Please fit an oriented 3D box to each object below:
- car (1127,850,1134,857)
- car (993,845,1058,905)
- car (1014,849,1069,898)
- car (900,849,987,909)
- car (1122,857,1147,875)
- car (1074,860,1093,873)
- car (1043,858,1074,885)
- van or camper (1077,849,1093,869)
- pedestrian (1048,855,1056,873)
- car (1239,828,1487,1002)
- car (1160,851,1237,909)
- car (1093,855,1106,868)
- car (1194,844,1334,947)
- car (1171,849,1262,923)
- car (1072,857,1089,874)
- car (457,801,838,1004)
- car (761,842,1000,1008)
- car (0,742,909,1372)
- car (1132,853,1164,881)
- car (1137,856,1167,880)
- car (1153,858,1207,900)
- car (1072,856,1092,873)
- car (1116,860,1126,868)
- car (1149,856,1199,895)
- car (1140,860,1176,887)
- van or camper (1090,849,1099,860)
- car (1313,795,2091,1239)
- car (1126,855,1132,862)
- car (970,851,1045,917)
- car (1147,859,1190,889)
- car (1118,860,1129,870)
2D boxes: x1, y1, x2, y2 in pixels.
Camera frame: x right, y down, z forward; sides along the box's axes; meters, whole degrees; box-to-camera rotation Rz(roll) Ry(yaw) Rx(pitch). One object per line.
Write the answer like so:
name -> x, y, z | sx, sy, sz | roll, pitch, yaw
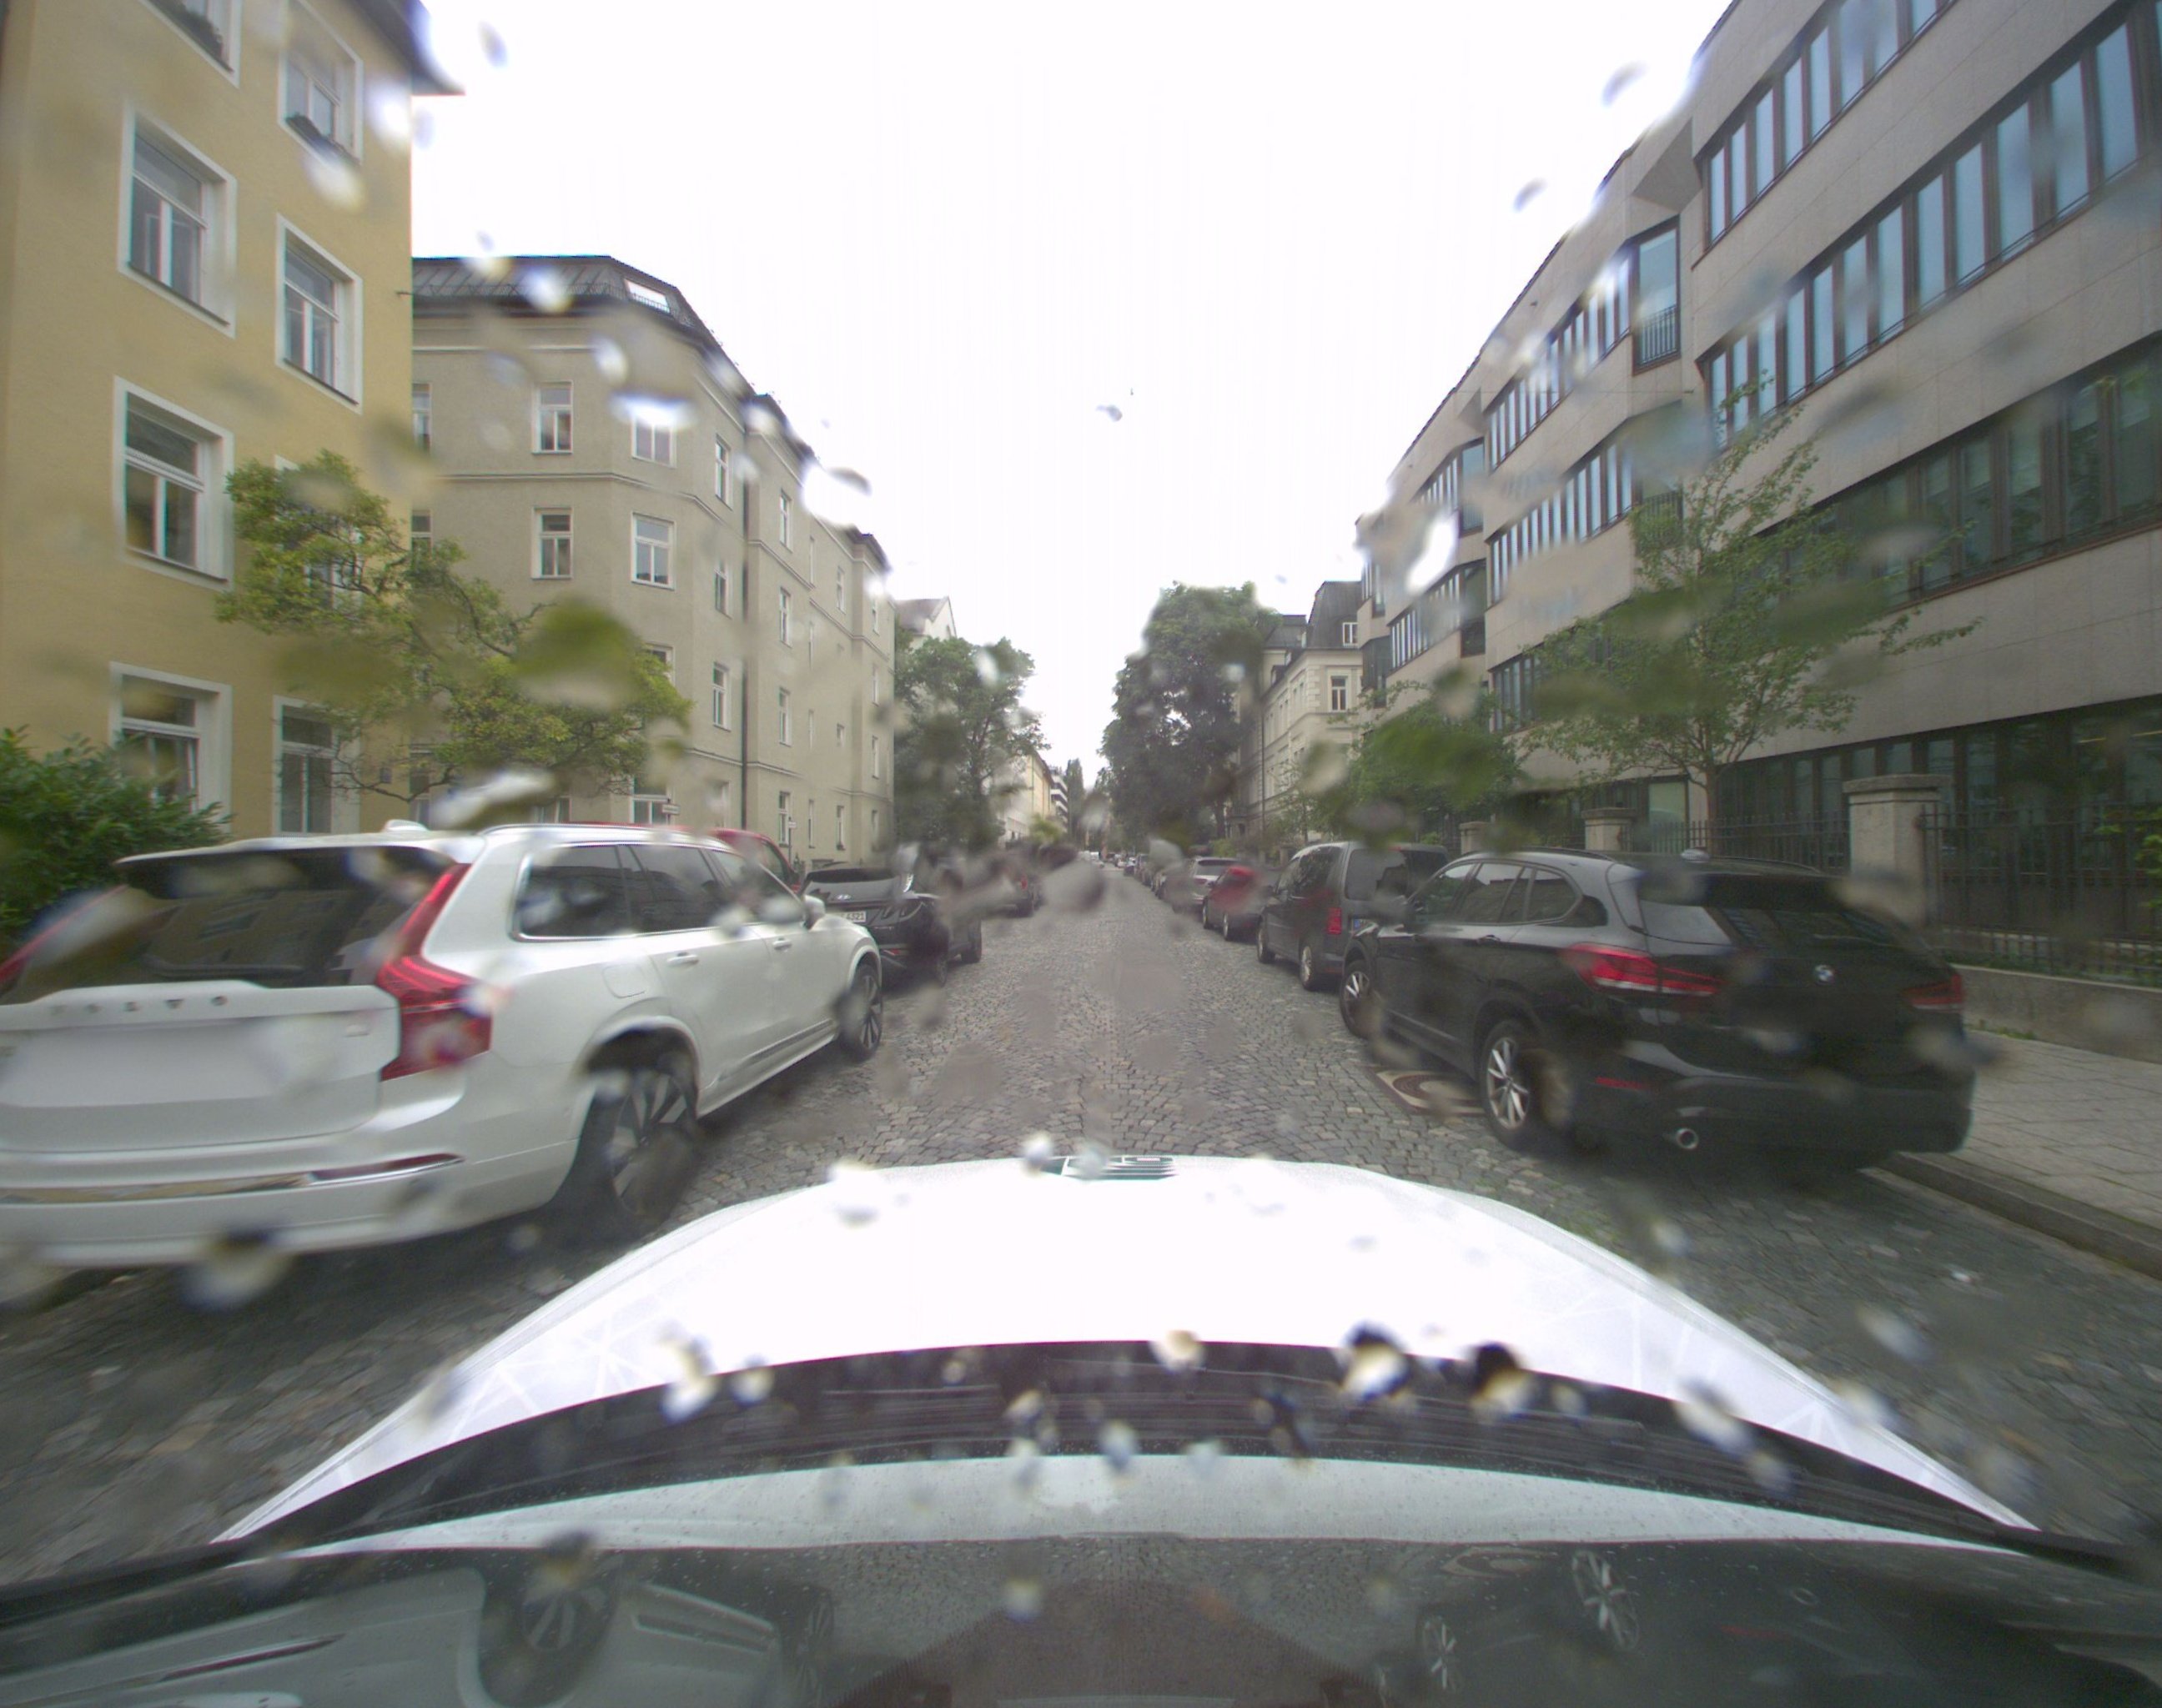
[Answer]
car -> 14.498, -0.084, 237.373 | 1.986, 2.014, 4.002 | 0, -1, 2
car -> -1.923, 0.727, 29.440 | 1.866, 1.917, 4.828 | -2, -1, 1
car -> -1.651, 0.821, 36.003 | 1.986, 1.917, 5.178 | -4, -1, 1
car -> -4.468, 0.774, 27.172 | 1.938, 1.735, 4.658 | 3, 0, 1
car -> 4.742, 1.052, 72.802 | 1.867, 1.503, 4.510 | 2, 0, 0
car -> 0.350, 1.510, 98.573 | 1.864, 1.580, 4.213 | 2, -1, 5
car -> -1.277, 0.989, 46.729 | 1.657, 1.444, 4.169 | -1, -1, -1
van or camper -> 0.596, 0.641, 113.532 | 1.986, 2.652, 4.002 | -3, -1, 2
pedestrian -> -3.078, 1.083, 87.098 | 0.789, 1.917, 0.759 | 1, -1, 1
car -> 3.516, 0.683, 11.141 | 1.782, 1.796, 4.509 | 4, 0, 0
car -> 3.927, 0.830, 27.986 | 1.867, 1.735, 4.746 | 3, 0, 0
car -> 2.926, 1.182, 127.083 | 1.986, 2.014, 4.002 | 0, -1, 2
car -> 3.640, 0.770, 17.049 | 1.866, 1.735, 4.659 | 4, 0, 1
car -> 3.521, 0.797, 22.046 | 1.865, 1.735, 4.895 | 2, -1, 3
car -> -0.039, 1.320, 93.069 | 1.867, 1.776, 4.123 | -4, -1, 1
car -> -5.021, 0.492, 10.612 | 1.987, 1.931, 5.331 | 1, 0, 1
car -> -2.503, 0.818, 11.550 | 1.910, 1.735, 4.758 | -4, -1, 2
car -> -2.745, 0.633, 4.988 | 1.998, 1.809, 5.177 | -2, -1, 3
car -> 4.959, 0.926, 60.692 | 1.867, 1.928, 5.162 | 2, 0, 0
car -> 4.748, 0.947, 55.148 | 1.829, 1.490, 4.424 | 2, 0, 3
car -> 3.948, 0.944, 33.121 | 1.865, 1.490, 4.621 | 2, 0, 4
car -> 0.111, 1.024, 80.530 | 1.867, 1.580, 4.254 | -3, 0, 0
car -> 7.614, 1.958, 155.013 | 1.783, 1.520, 4.002 | 0, -1, 2
car -> 4.282, 0.964, 38.095 | 1.866, 1.670, 4.659 | 2, 0, 2
car -> 4.512, 1.117, 48.101 | 1.707, 1.472, 4.269 | 2, 0, 1
van or camper -> 3.278, 0.148, 198.103 | 2.247, 2.742, 5.100 | 1, -1, 2
car -> 3.197, 0.674, 5.703 | 1.853, 1.702, 4.815 | 3, 0, 2
car -> 15.368, 1.413, 261.997 | 1.986, 2.014, 4.002 | 0, -1, 2
car -> -2.128, 0.836, 24.638 | 1.860, 1.735, 4.402 | -3, 0, -1
car -> 4.634, 1.039, 43.701 | 1.690, 1.440, 4.057 | 2, 0, -2
car -> 7.022, 1.801, 134.472 | 1.783, 1.520, 4.002 | 0, -1, 2
